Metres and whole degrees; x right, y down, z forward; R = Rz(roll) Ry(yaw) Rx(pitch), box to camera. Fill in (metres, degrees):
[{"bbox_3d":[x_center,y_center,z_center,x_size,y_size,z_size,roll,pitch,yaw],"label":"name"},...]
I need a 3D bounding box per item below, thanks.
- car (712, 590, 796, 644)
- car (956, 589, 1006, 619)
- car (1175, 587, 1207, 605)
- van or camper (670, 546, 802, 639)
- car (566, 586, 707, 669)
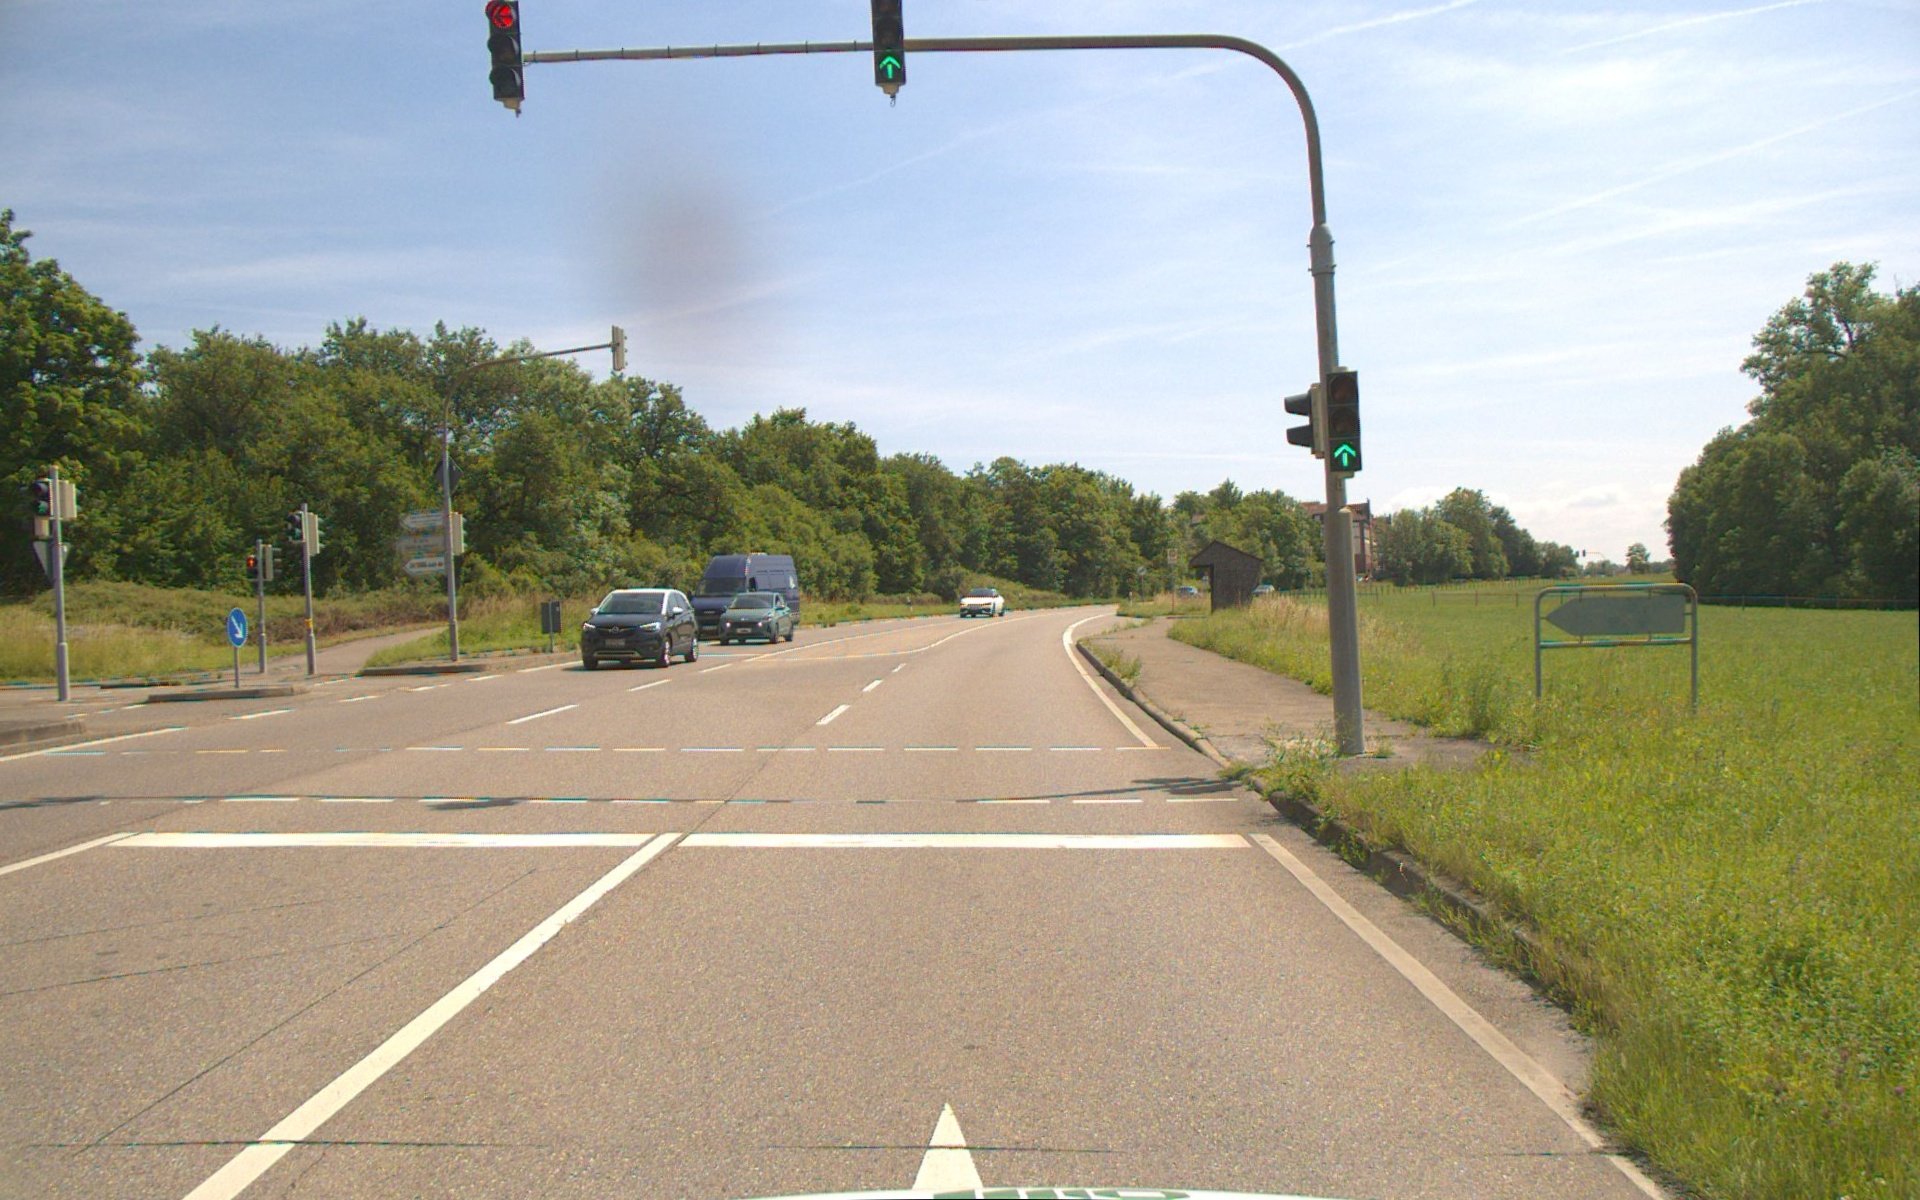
[{"bbox_3d":[-6.026,0.470,48.771,1.671,1.509,3.834,-1,0,5],"label":"car"},{"bbox_3d":[1.175,0.217,91.663,1.896,1.575,4.631,-1,0,12],"label":"car"},{"bbox_3d":[20.726,-0.376,148.214,1.952,1.601,4.000,-1,0,21],"label":"car"},{"bbox_3d":[-7.570,-0.326,56.872,2.192,2.964,7.254,-1,1,11],"label":"van or camper"},{"bbox_3d":[-6.626,0.533,34.354,1.933,1.589,4.190,-1,0,2],"label":"car"}]
